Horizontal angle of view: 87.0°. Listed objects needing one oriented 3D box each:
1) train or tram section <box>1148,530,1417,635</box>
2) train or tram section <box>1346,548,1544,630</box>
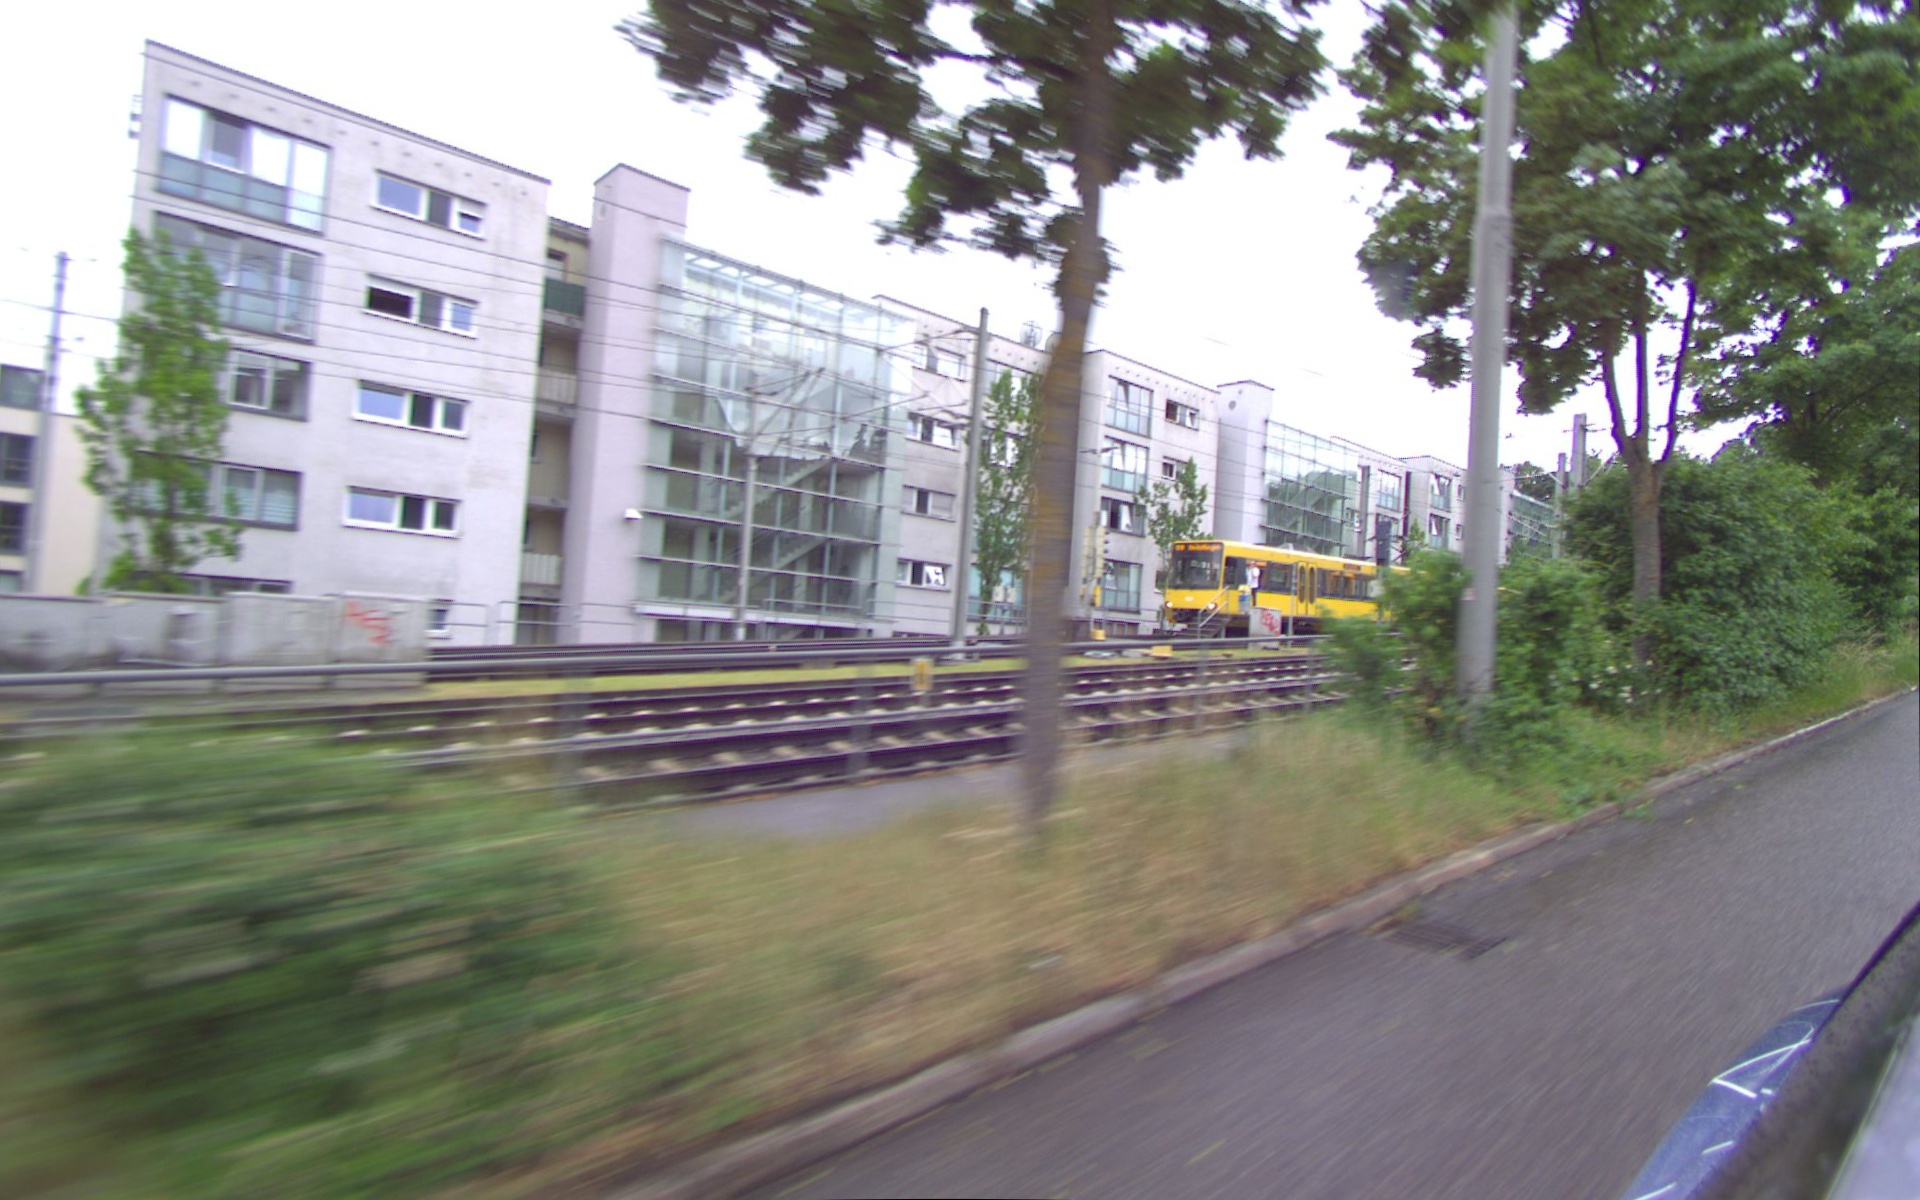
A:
[{"bbox_3d":[13.408,-0.577,40.629,14.245,3.606,3.203,1,1,-40],"label":"train or tram section"},{"bbox_3d":[24.267,-0.439,49.919,14.593,3.542,3.113,1,1,-40],"label":"train or tram section"}]
